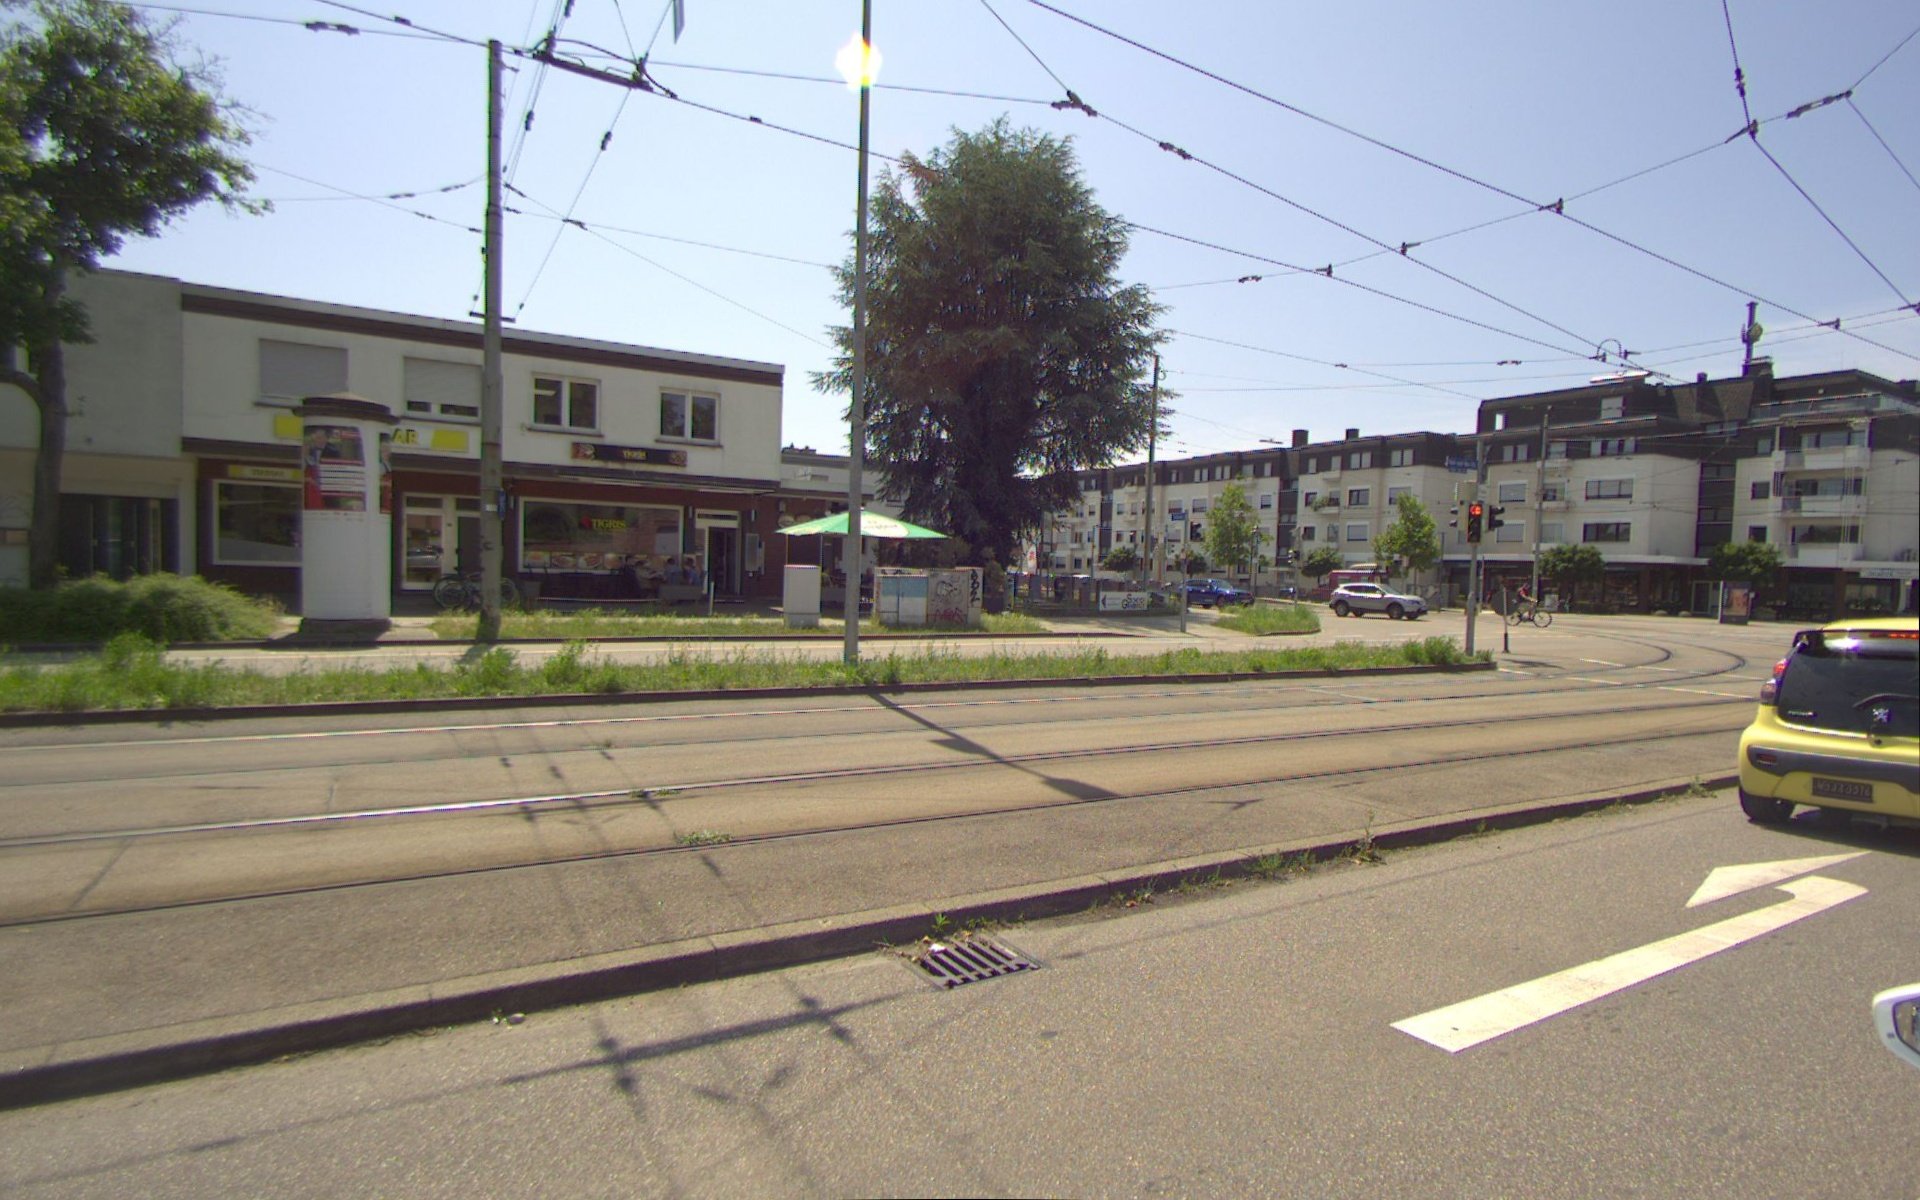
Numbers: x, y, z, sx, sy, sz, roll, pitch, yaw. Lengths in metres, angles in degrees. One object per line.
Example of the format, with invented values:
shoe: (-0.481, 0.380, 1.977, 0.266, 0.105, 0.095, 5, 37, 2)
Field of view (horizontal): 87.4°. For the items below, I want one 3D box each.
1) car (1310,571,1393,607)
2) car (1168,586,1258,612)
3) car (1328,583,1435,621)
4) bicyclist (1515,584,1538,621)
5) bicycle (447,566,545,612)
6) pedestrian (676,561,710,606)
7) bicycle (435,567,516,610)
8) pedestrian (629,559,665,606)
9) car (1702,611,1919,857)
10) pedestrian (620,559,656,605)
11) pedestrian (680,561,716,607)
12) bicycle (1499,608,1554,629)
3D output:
car: (27.313, -0.775, 70.257, 2.219, 2.372, 5.038, 2, 0, -31)
car: (13.689, -0.070, 54.605, 1.919, 1.253, 4.740, 2, 0, -33)
car: (19.375, 0.079, 46.279, 1.925, 1.605, 4.101, 2, 0, -41)
bicyclist: (23.773, 0.110, 42.125, 0.741, 1.521, 0.480, 2, 0, 39)
bicycle: (-10.789, -0.238, 23.369, 2.006, 0.992, 0.607, 2, 0, -31)
pedestrian: (-7.824, -0.478, 29.415, 0.832, 1.285, 0.586, 2, 0, -30)
bicycle: (-11.755, -0.268, 24.390, 1.738, 0.992, 0.536, 2, 0, -31)
pedestrian: (-8.770, -0.483, 28.119, 0.832, 1.285, 0.586, 2, 0, -30)
car: (7.035, 0.824, 7.151, 3.254, 1.464, 1.715, 0, 0, -31)
pedestrian: (-9.185, -0.507, 28.653, 0.832, 1.285, 0.586, 2, 0, -30)
pedestrian: (-7.534, -0.459, 28.861, 0.832, 1.285, 0.586, 2, 0, -30)
bicycle: (23.756, 0.773, 42.137, 1.956, 0.794, 0.464, 2, 0, 39)
